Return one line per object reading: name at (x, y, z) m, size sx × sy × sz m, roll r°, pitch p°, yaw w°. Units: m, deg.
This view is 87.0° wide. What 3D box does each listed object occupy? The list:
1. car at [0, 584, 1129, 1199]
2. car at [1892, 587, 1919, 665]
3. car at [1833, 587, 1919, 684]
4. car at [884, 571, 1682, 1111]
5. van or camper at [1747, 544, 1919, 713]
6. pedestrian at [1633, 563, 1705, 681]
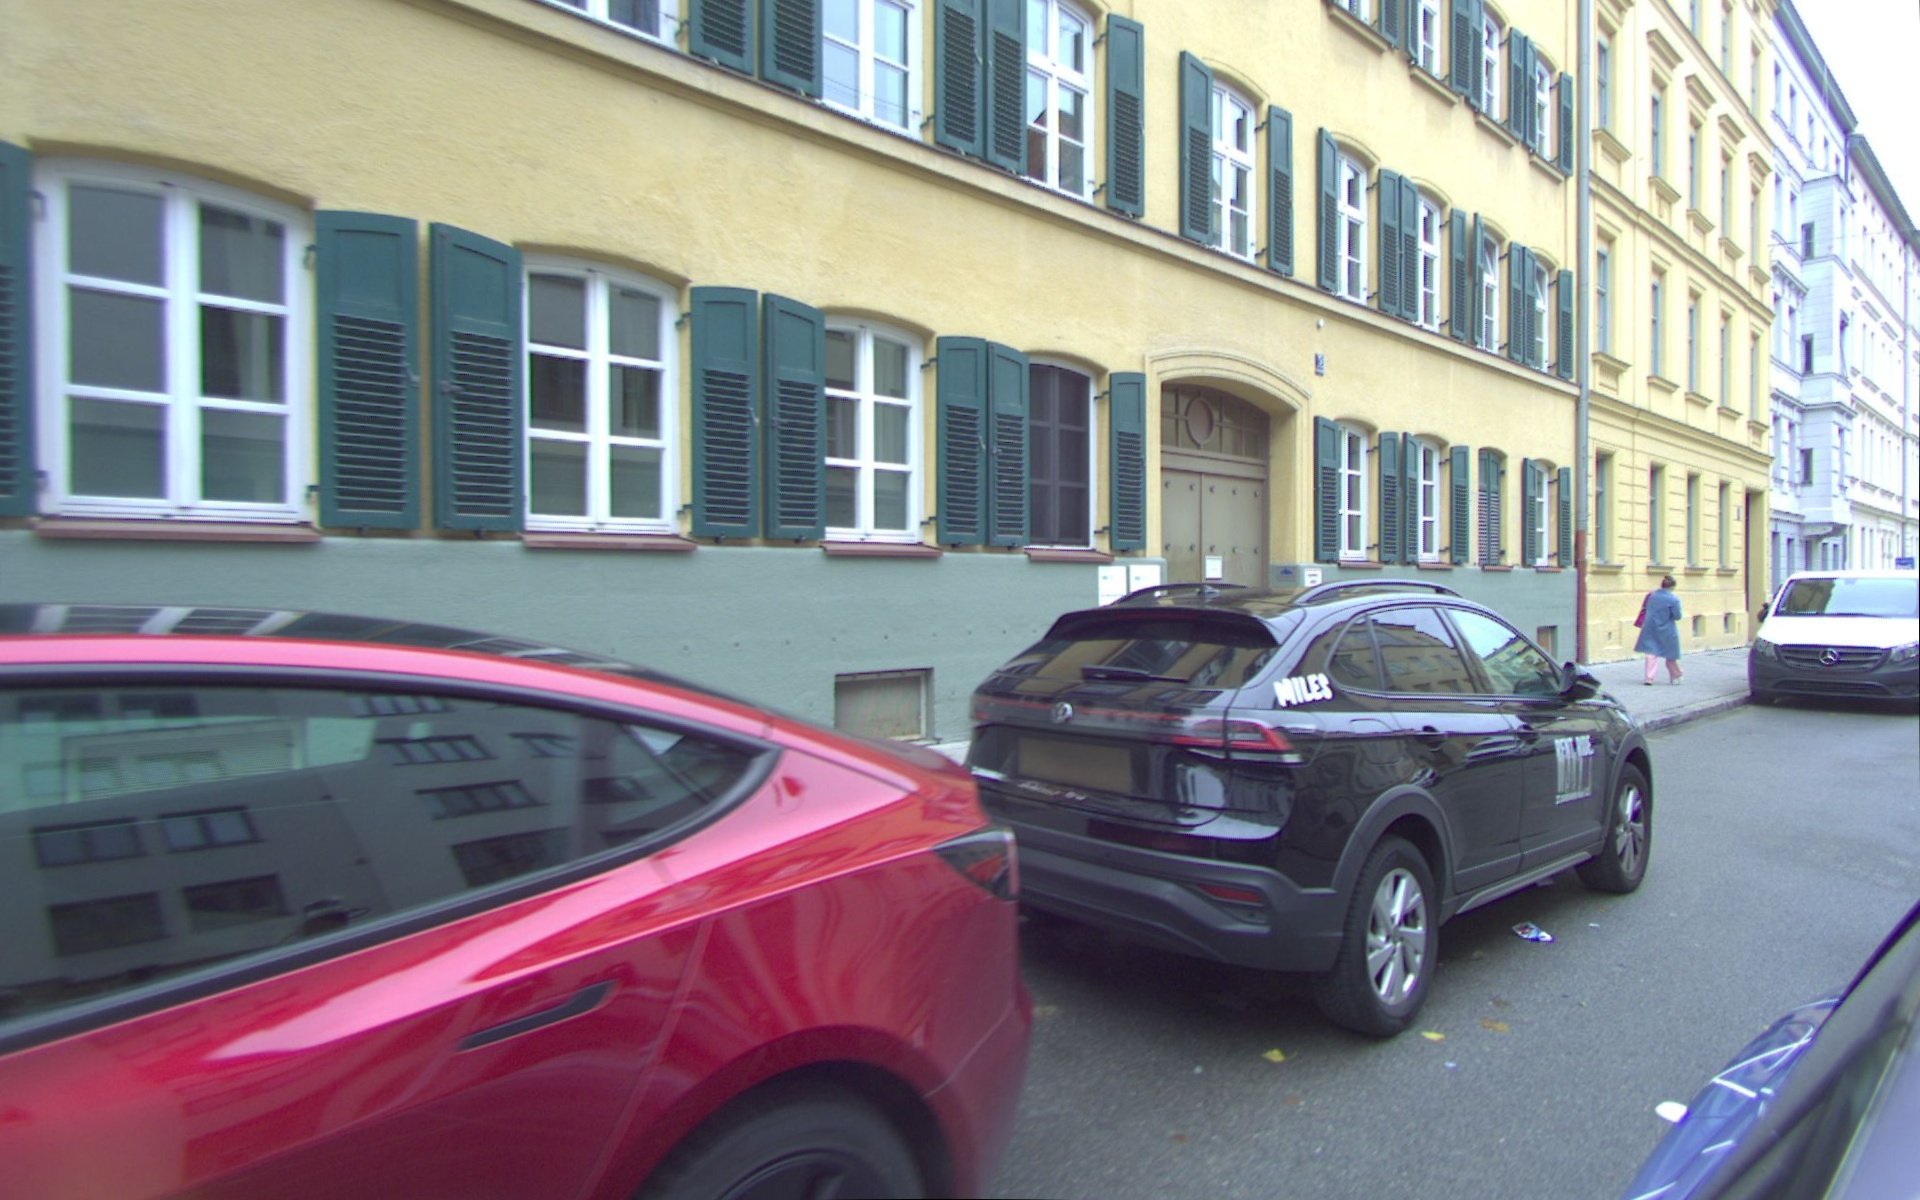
car at (-1.843, 0.706, 1.278) m, size 4.381 × 1.441 × 1.716 m, roll -1°, pitch 1°, yaw -42°
car at (20.359, 0.511, 20.635) m, size 3.696 × 1.528 × 1.626 m, roll 0°, pitch 1°, yaw -42°
car at (16.808, 0.563, 17.701) m, size 4.510 × 1.528 × 1.818 m, roll 0°, pitch 1°, yaw -43°
car at (1.748, 0.639, 4.728) m, size 3.930 × 1.482 × 1.749 m, roll 0°, pitch 1°, yaw -41°
van or camper at (13.032, 0.322, 14.386) m, size 5.142 × 2.039 × 1.997 m, roll 0°, pitch 1°, yaw -42°
pedestrian at (10.424, 0.309, 14.883) m, size 0.881 × 1.658 × 0.598 m, roll 0°, pitch 3°, yaw -43°
